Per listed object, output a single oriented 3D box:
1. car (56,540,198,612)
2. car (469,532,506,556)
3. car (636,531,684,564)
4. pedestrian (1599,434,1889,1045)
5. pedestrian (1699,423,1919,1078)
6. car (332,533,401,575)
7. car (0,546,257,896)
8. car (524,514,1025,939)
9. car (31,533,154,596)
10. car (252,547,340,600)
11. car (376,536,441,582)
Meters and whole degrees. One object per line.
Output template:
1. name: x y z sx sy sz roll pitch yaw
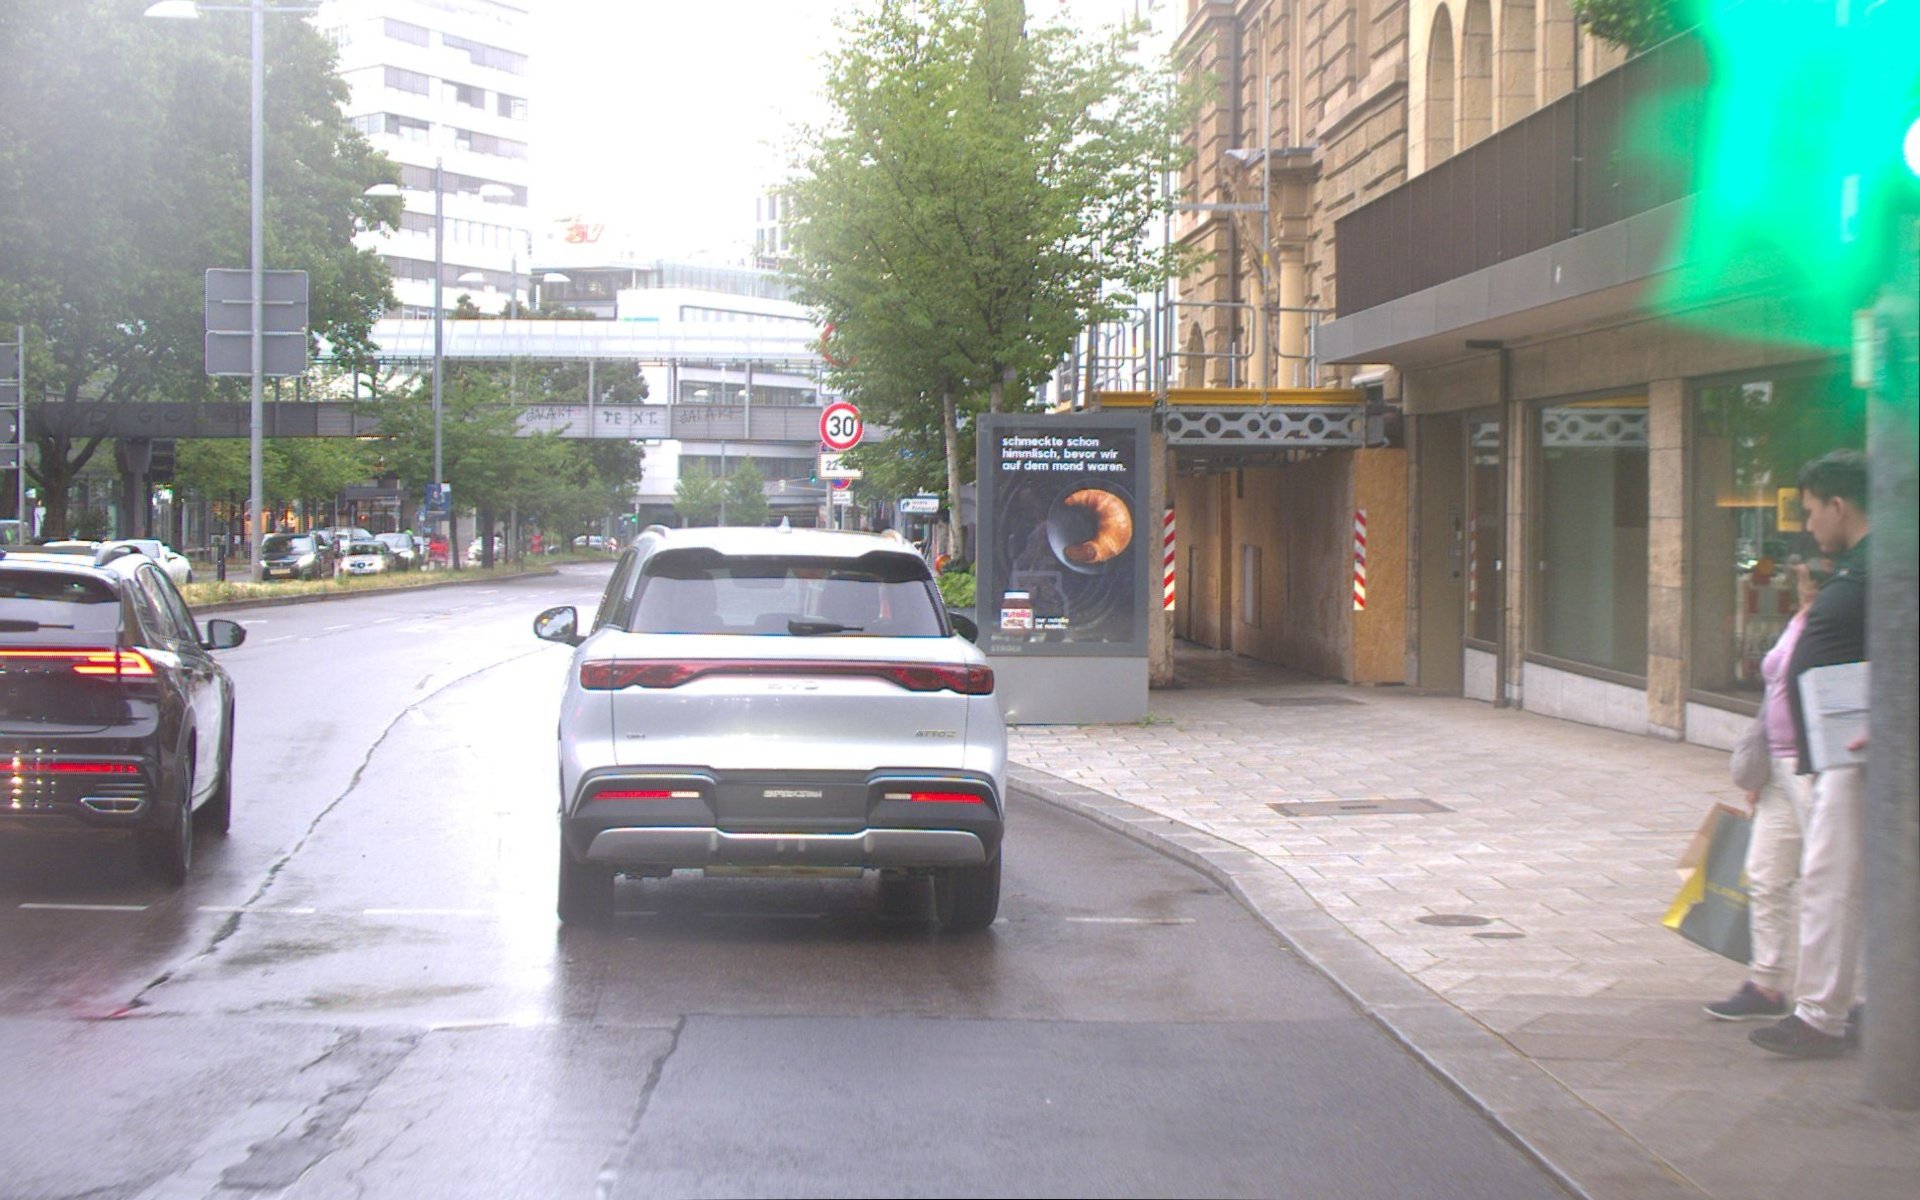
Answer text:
1. car: -17.450 -0.504 72.185 1.860 1.437 4.313 1 0 1
2. car: -28.022 -3.295 204.051 1.596 1.355 4.117 1 0 0
3. car: -12.609 -2.199 144.636 1.653 1.337 4.000 1 1 -1
4. pedestrian: 2.433 0.416 10.698 0.589 1.828 0.629 1 0 -29
5. pedestrian: 2.513 0.421 9.913 0.632 1.828 0.563 1 0 2
6. car: -19.765 -1.511 114.663 1.596 1.355 4.117 1 0 0
7. car: -4.393 0.484 16.207 1.773 1.452 4.001 1 0 -7
8. car: -0.867 0.476 15.178 1.901 1.616 4.001 1 0 -5
9. car: -20.531 -0.840 81.539 1.727 1.427 4.395 1 0 1
10. car: -18.515 -0.730 95.975 1.700 1.432 4.583 1 0 -2
11. car: -20.835 -1.532 130.079 1.874 1.674 4.681 1 0 -2
